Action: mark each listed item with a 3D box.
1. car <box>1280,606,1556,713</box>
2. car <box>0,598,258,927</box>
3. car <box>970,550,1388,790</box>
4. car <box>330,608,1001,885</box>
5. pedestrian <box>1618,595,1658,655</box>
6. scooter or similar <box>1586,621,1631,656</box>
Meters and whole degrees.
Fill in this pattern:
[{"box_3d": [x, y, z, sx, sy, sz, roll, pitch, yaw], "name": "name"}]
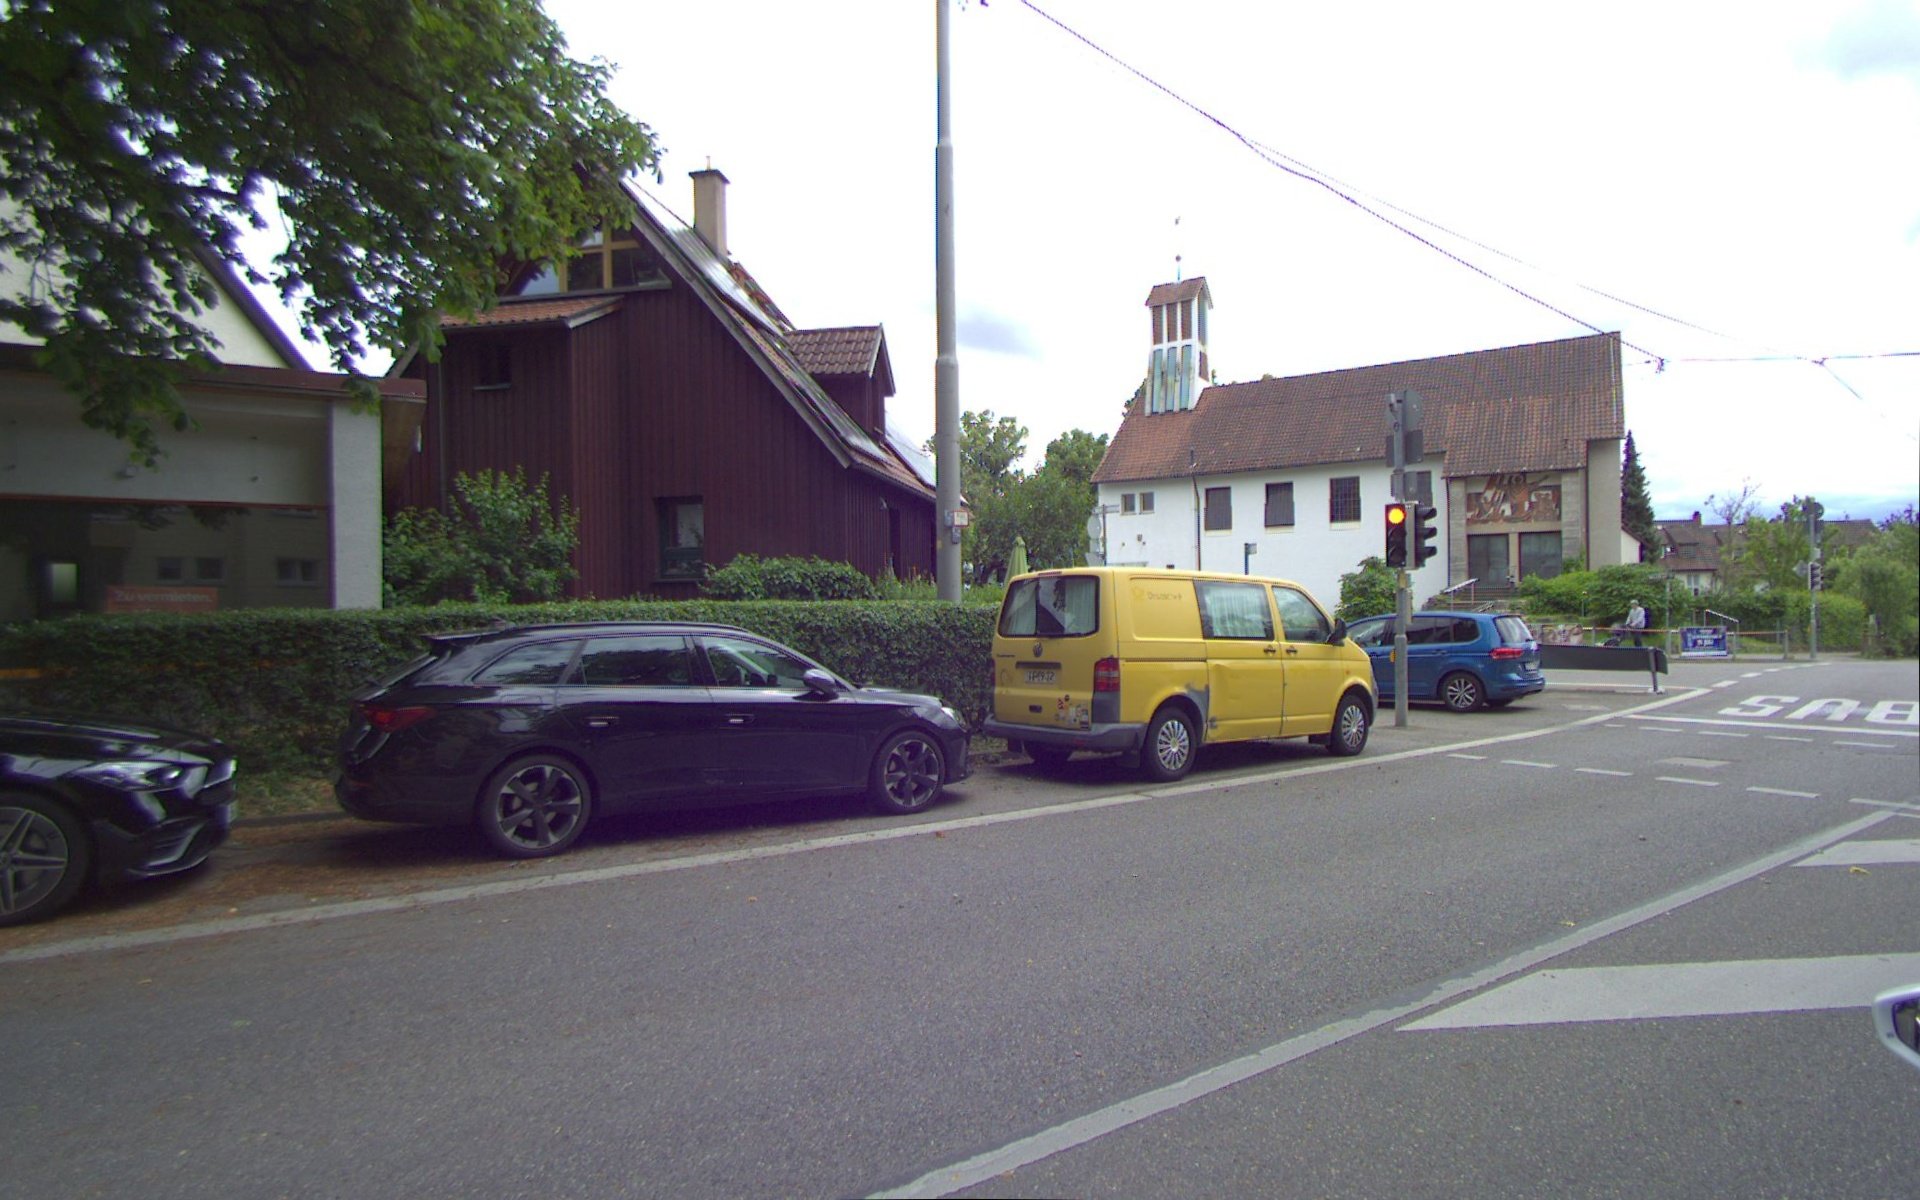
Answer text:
[{"box_3d": [7.808, 0.990, 17.363, 1.806, 1.632, 3.948, 1, -3, -44], "name": "car"}, {"box_3d": [-6.218, 0.761, 4.753, 4.561, 1.520, 1.984, 1, -2, -31], "name": "car"}, {"box_3d": [2.456, 0.646, 10.681, 4.523, 2.040, 1.870, 1, -2, -37], "name": "car"}, {"box_3d": [-2.002, 0.844, 7.437, 4.494, 1.505, 1.681, 1, -2, -34], "name": "car"}, {"box_3d": [21.672, 0.807, 32.130, 0.870, 1.887, 0.574, 0, -1, -3], "name": "pedestrian"}, {"box_3d": [20.692, 1.214, 32.064, 1.090, 1.095, 0.577, 0, -1, -4], "name": "scooter or similar"}]
